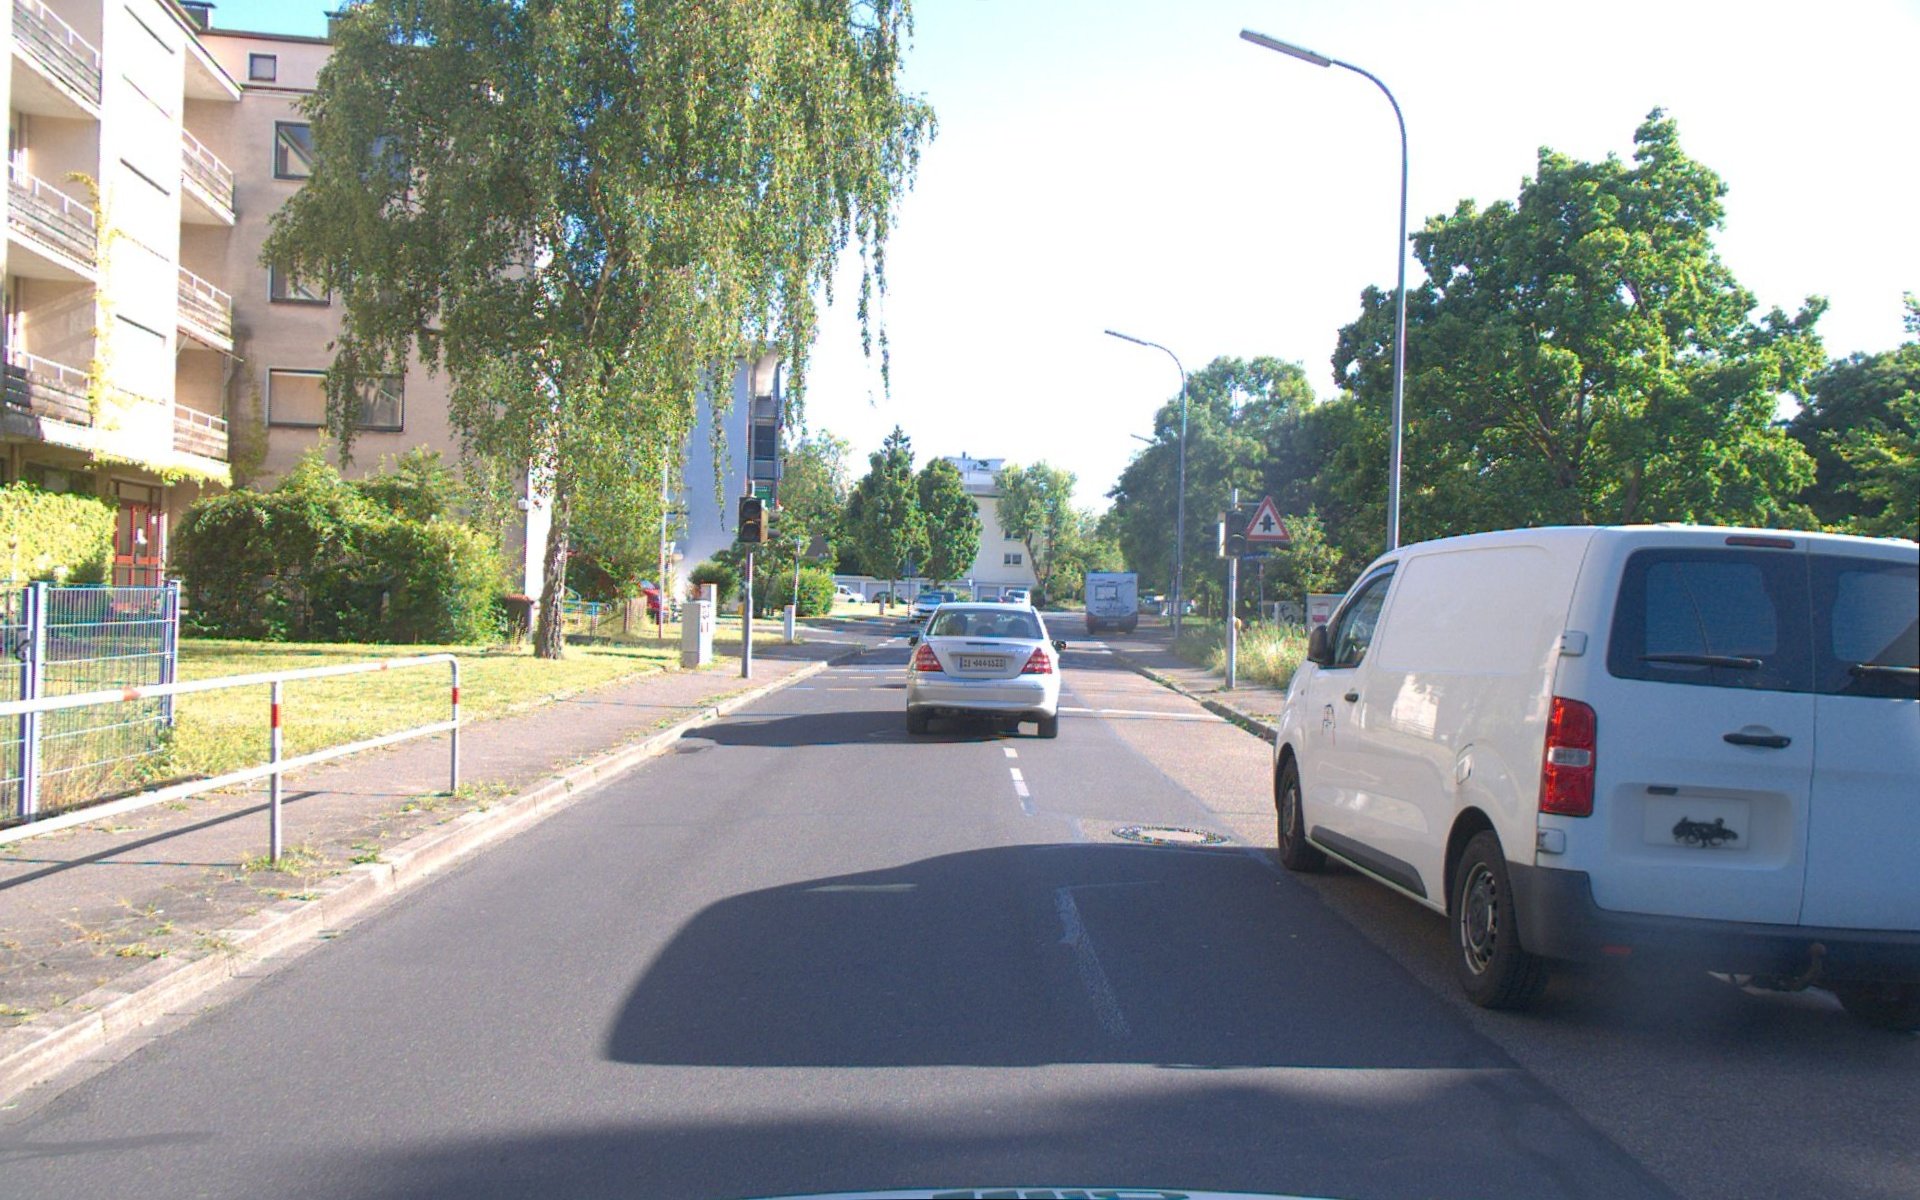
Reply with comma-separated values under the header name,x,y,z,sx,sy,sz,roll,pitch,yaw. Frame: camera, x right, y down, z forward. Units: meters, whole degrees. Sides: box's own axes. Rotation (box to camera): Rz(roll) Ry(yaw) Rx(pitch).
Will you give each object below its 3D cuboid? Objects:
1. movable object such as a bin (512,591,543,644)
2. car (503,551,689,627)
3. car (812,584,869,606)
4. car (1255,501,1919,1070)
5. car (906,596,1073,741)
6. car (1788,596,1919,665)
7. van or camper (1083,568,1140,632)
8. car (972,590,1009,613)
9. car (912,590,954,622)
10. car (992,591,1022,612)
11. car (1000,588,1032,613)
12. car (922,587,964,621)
name,x,y,z,sx,sy,sz,roll,pitch,yaw
movable object such as a bin,-8.817,0.353,33.703,0.555,1.072,0.554,1,0,-20
car,-12.338,-0.402,56.297,5.782,2.471,2.214,1,2,1
car,-11.663,-0.496,161.591,4.997,1.985,2.239,1,0,15
car,2.908,0.642,8.142,1.877,1.904,4.864,3,0,-1
car,0.318,0.705,18.796,1.697,1.459,3.438,1,0,0
car,28.831,0.961,52.113,4.408,2.047,2.276,1,0,10
van or camper,6.668,-0.012,73.424,2.302,2.642,6.429,-2,0,4
car,2.184,0.093,117.863,1.992,1.518,5.260,4,1,7
car,-1.314,0.261,82.929,1.612,1.492,4.333,2,0,5
car,3.714,0.133,130.607,1.794,1.544,4.225,3,0,8
car,4.658,0.038,137.040,1.972,1.918,5.195,3,0,8
car,-0.880,0.186,89.207,1.874,1.631,4.814,4,1,3
